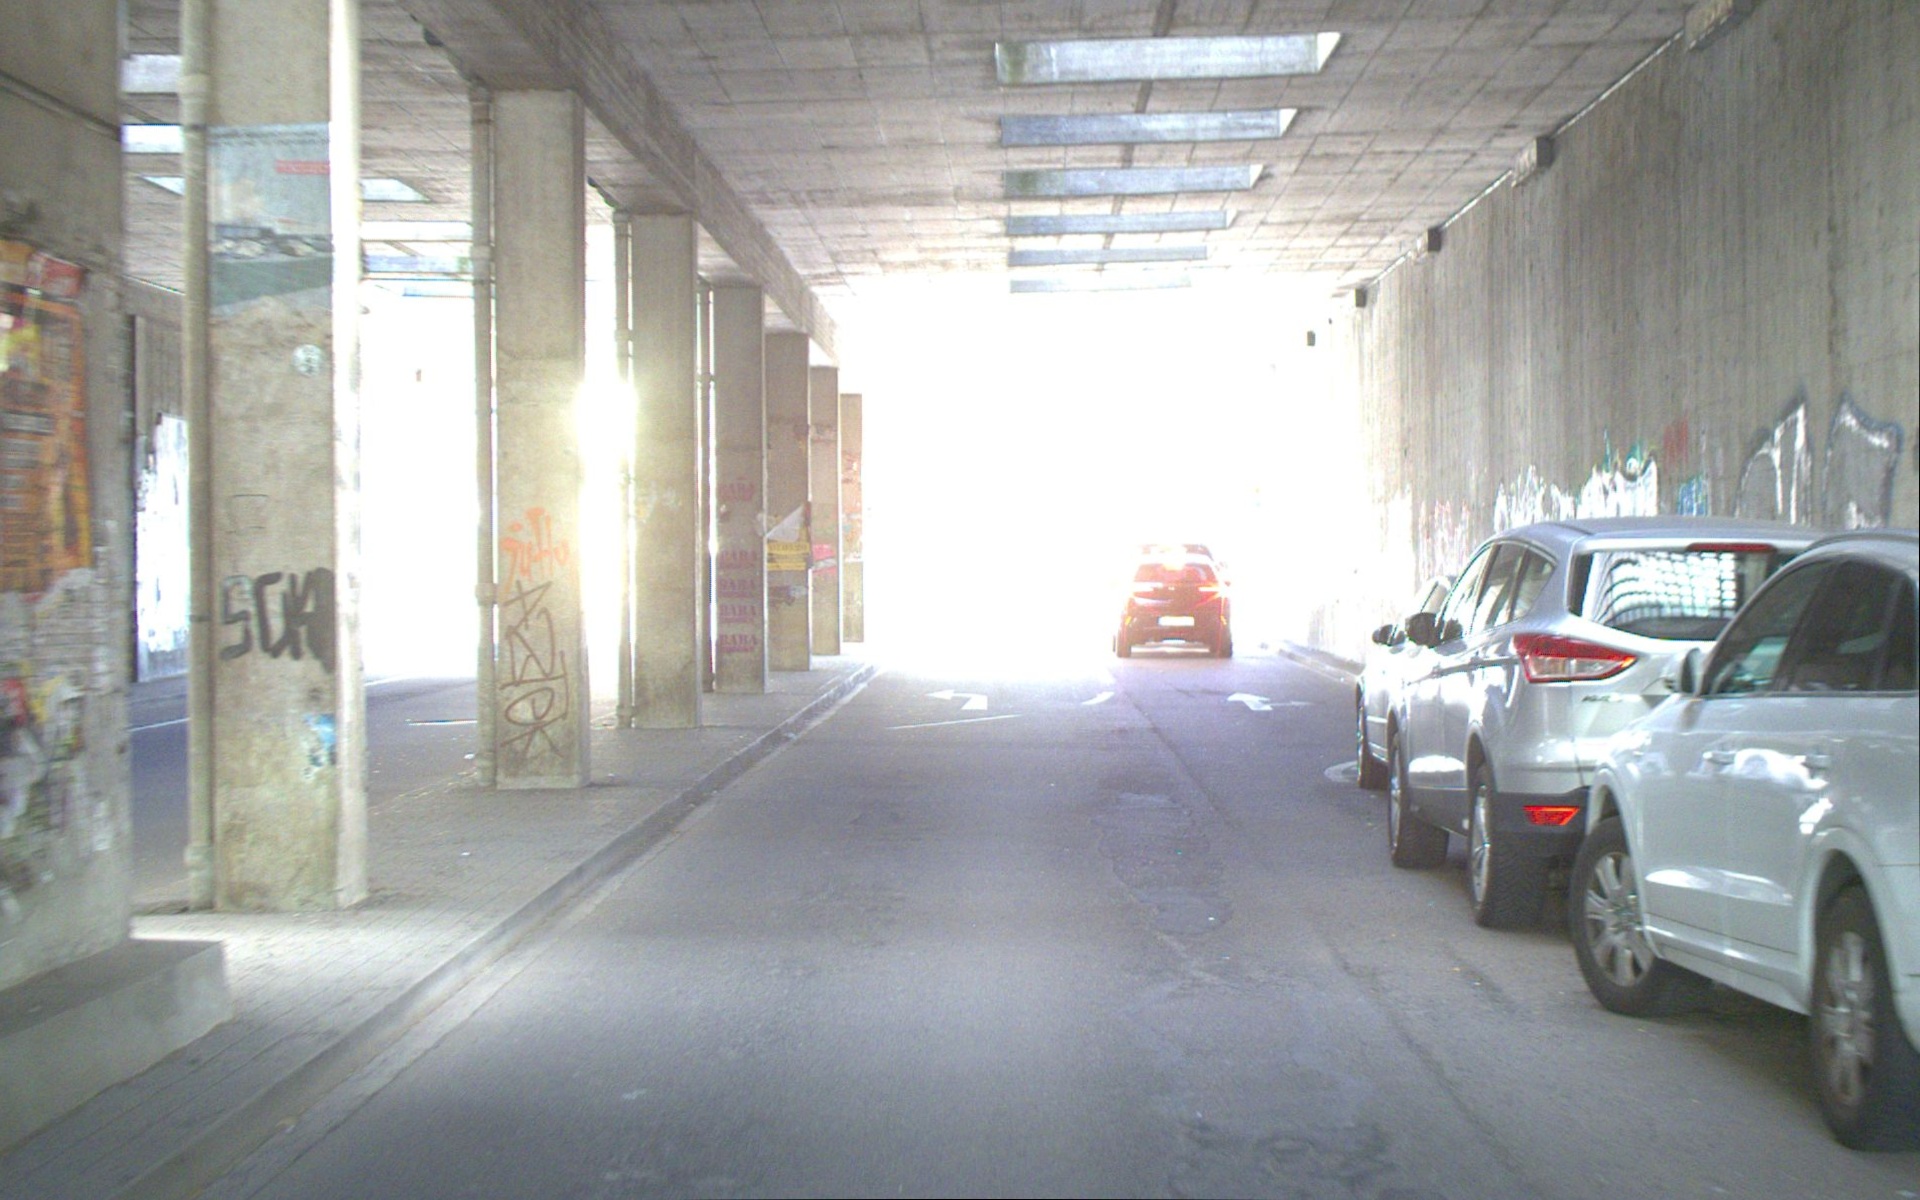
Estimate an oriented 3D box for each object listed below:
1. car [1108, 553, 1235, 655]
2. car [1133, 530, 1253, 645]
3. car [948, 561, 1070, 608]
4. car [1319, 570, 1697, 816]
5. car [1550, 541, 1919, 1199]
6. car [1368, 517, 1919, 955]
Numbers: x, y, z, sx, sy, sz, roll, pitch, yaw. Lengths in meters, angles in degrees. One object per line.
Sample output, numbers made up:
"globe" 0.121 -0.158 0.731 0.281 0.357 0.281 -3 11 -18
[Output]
"car" 3.240 0.030 53.297 1.826 1.496 4.211 0 1 2
"car" 3.997 -0.243 59.497 1.815 1.876 4.585 -1 1 1
"car" 1.653 -0.525 116.050 3.988 1.568 1.639 0 0 5
"car" 3.348 0.510 21.750 1.701 1.370 4.374 0 1 0
"car" 2.957 0.622 9.623 1.729 1.541 4.156 -1 0 -2
"car" 2.983 0.469 15.239 1.853 1.660 4.371 0 1 0
